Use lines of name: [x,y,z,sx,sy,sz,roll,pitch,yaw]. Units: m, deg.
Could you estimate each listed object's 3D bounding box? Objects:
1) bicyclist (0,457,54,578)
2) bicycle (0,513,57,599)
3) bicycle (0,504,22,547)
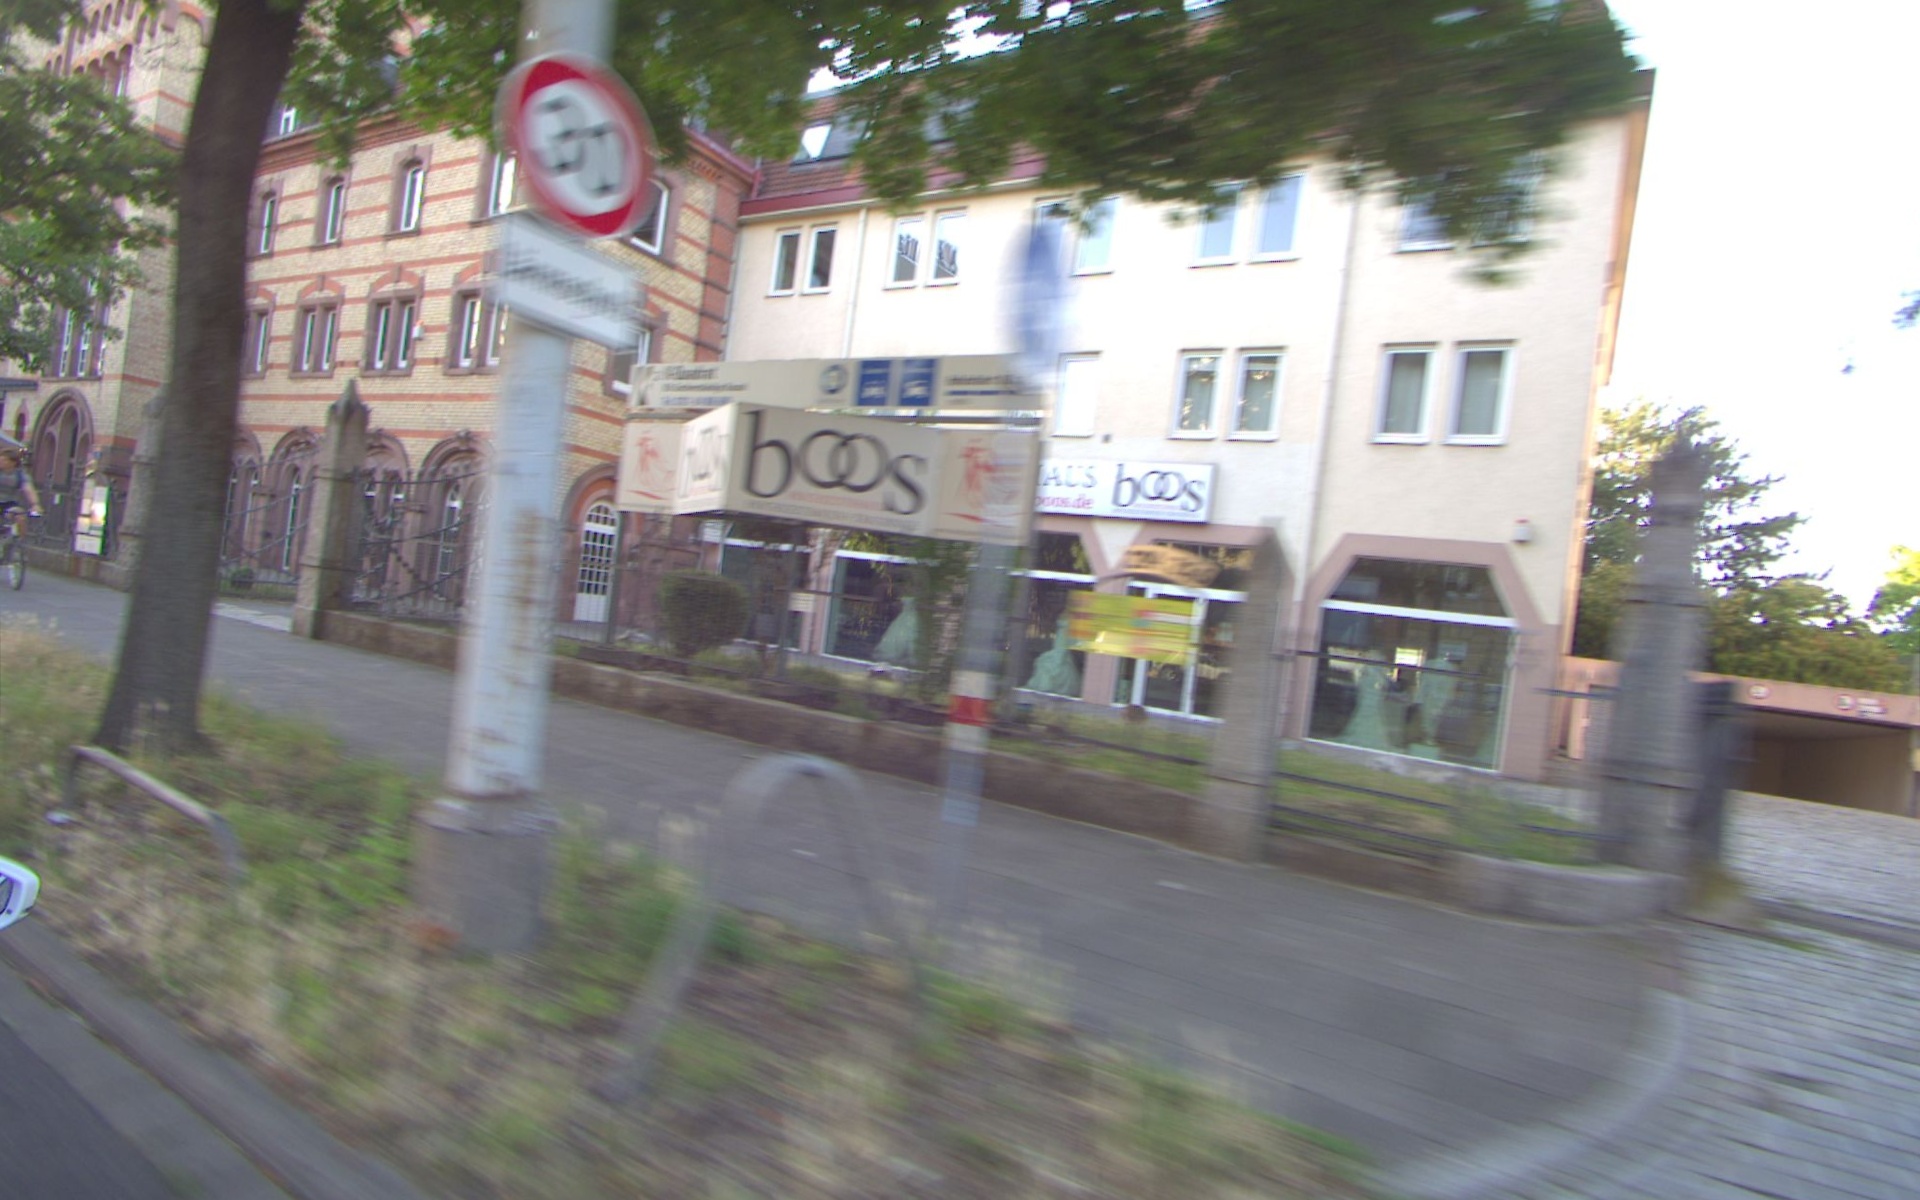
bicyclist: [-13.204,-1.151,13.913,0.878,1.549,0.597,7,-3,31]
bicycle: [-13.299,-0.673,13.920,2.054,1.051,0.518,7,-3,32]
bicycle: [-22.988,-1.843,23.469,0.526,0.956,1.449,7,-3,32]
